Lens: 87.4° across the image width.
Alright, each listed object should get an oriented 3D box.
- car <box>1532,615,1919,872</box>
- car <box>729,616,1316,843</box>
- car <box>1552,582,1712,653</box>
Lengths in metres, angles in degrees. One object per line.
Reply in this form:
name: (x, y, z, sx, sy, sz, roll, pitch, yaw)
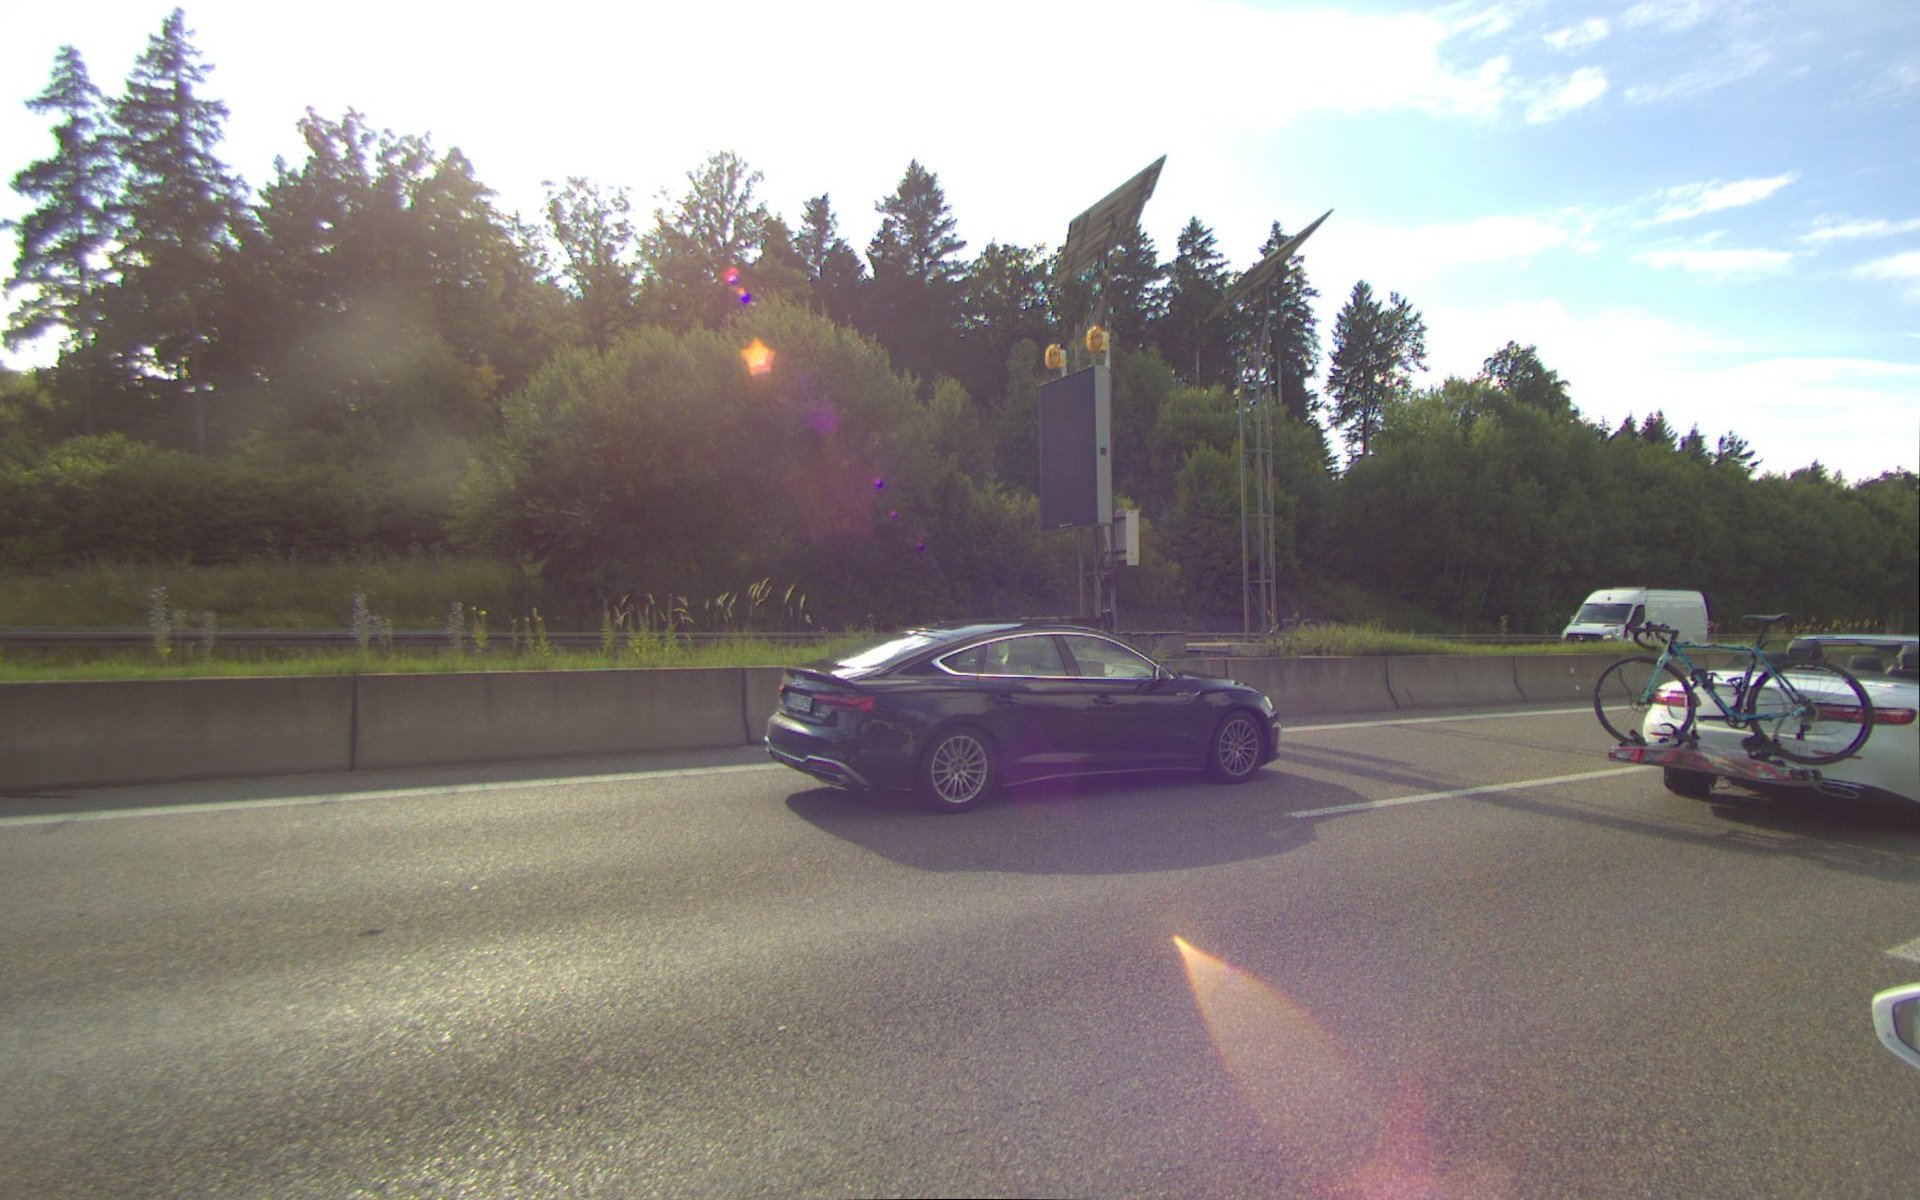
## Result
car: (7.412, 0.927, 8.374, 5.668, 1.519, 2.050, 1, 0, -30)
car: (0.650, 0.897, 8.553, 4.784, 1.450, 1.847, 1, 0, -30)
car: (24.084, 0.629, 35.895, 6.646, 2.343, 2.099, 1, 0, -31)
